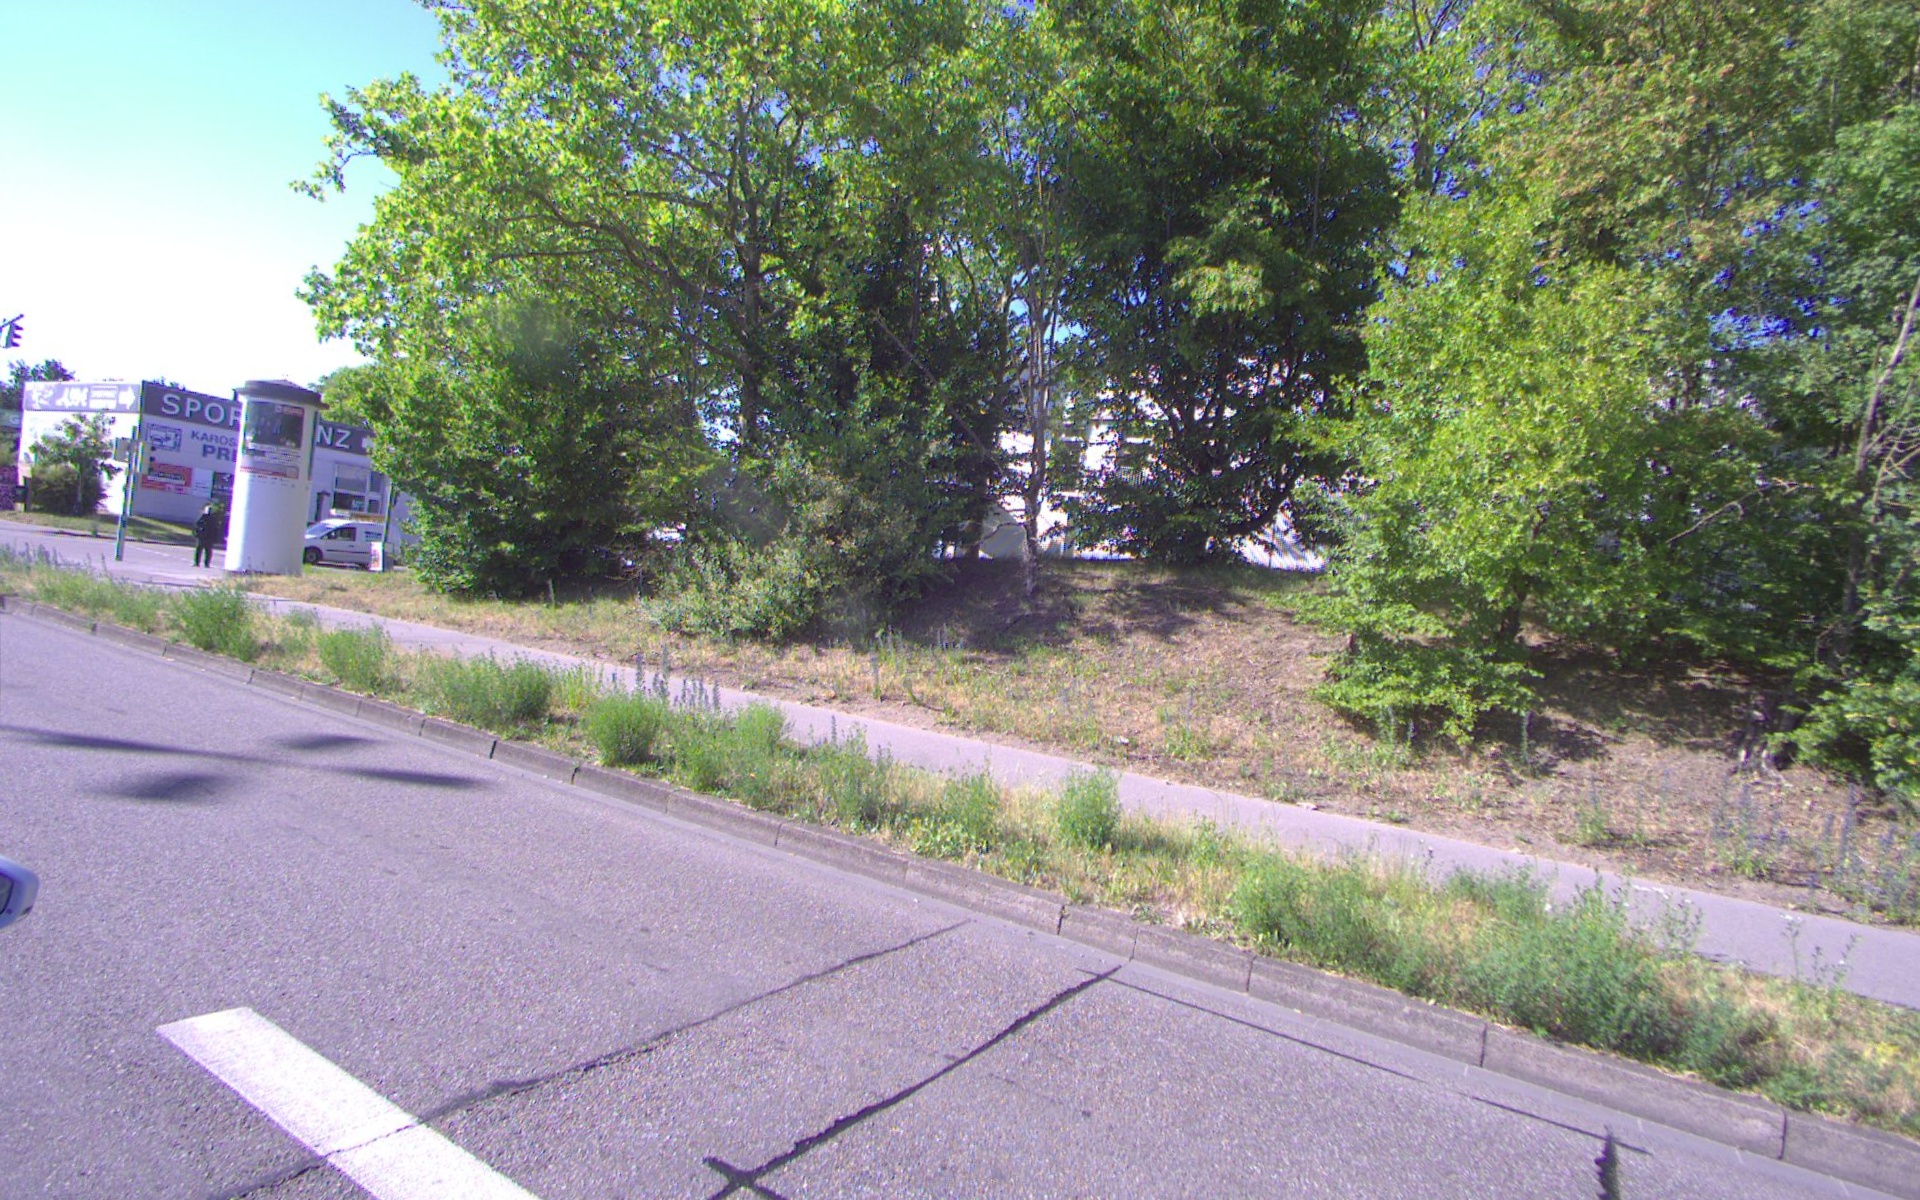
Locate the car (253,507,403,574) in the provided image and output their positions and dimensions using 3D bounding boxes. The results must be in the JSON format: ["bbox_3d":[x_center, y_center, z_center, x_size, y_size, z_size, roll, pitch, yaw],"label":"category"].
[{"bbox_3d":[-23.867,-2.218,38.164,1.735,1.824,4.387,11,2,30],"label":"car"}]

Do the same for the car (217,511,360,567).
[{"bbox_3d":[-26.619,-2.380,40.016,1.735,1.568,4.292,9,1,30],"label":"car"}]

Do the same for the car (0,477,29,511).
[{"bbox_3d":[-46.887,-5.226,47.096,1.828,1.472,4.490,7,1,33],"label":"car"}]

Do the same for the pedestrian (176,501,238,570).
[{"bbox_3d":[-20.985,-1.795,28.044,0.923,1.755,0.927,6,-1,31],"label":"pedestrian"}]

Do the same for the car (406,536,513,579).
[{"bbox_3d":[-23.030,-1.948,46.431,1.752,1.509,4.046,7,1,30],"label":"car"}]

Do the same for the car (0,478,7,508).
[{"bbox_3d":[-49.238,-5.493,48.466,1.828,1.472,4.490,7,1,33],"label":"car"}]
